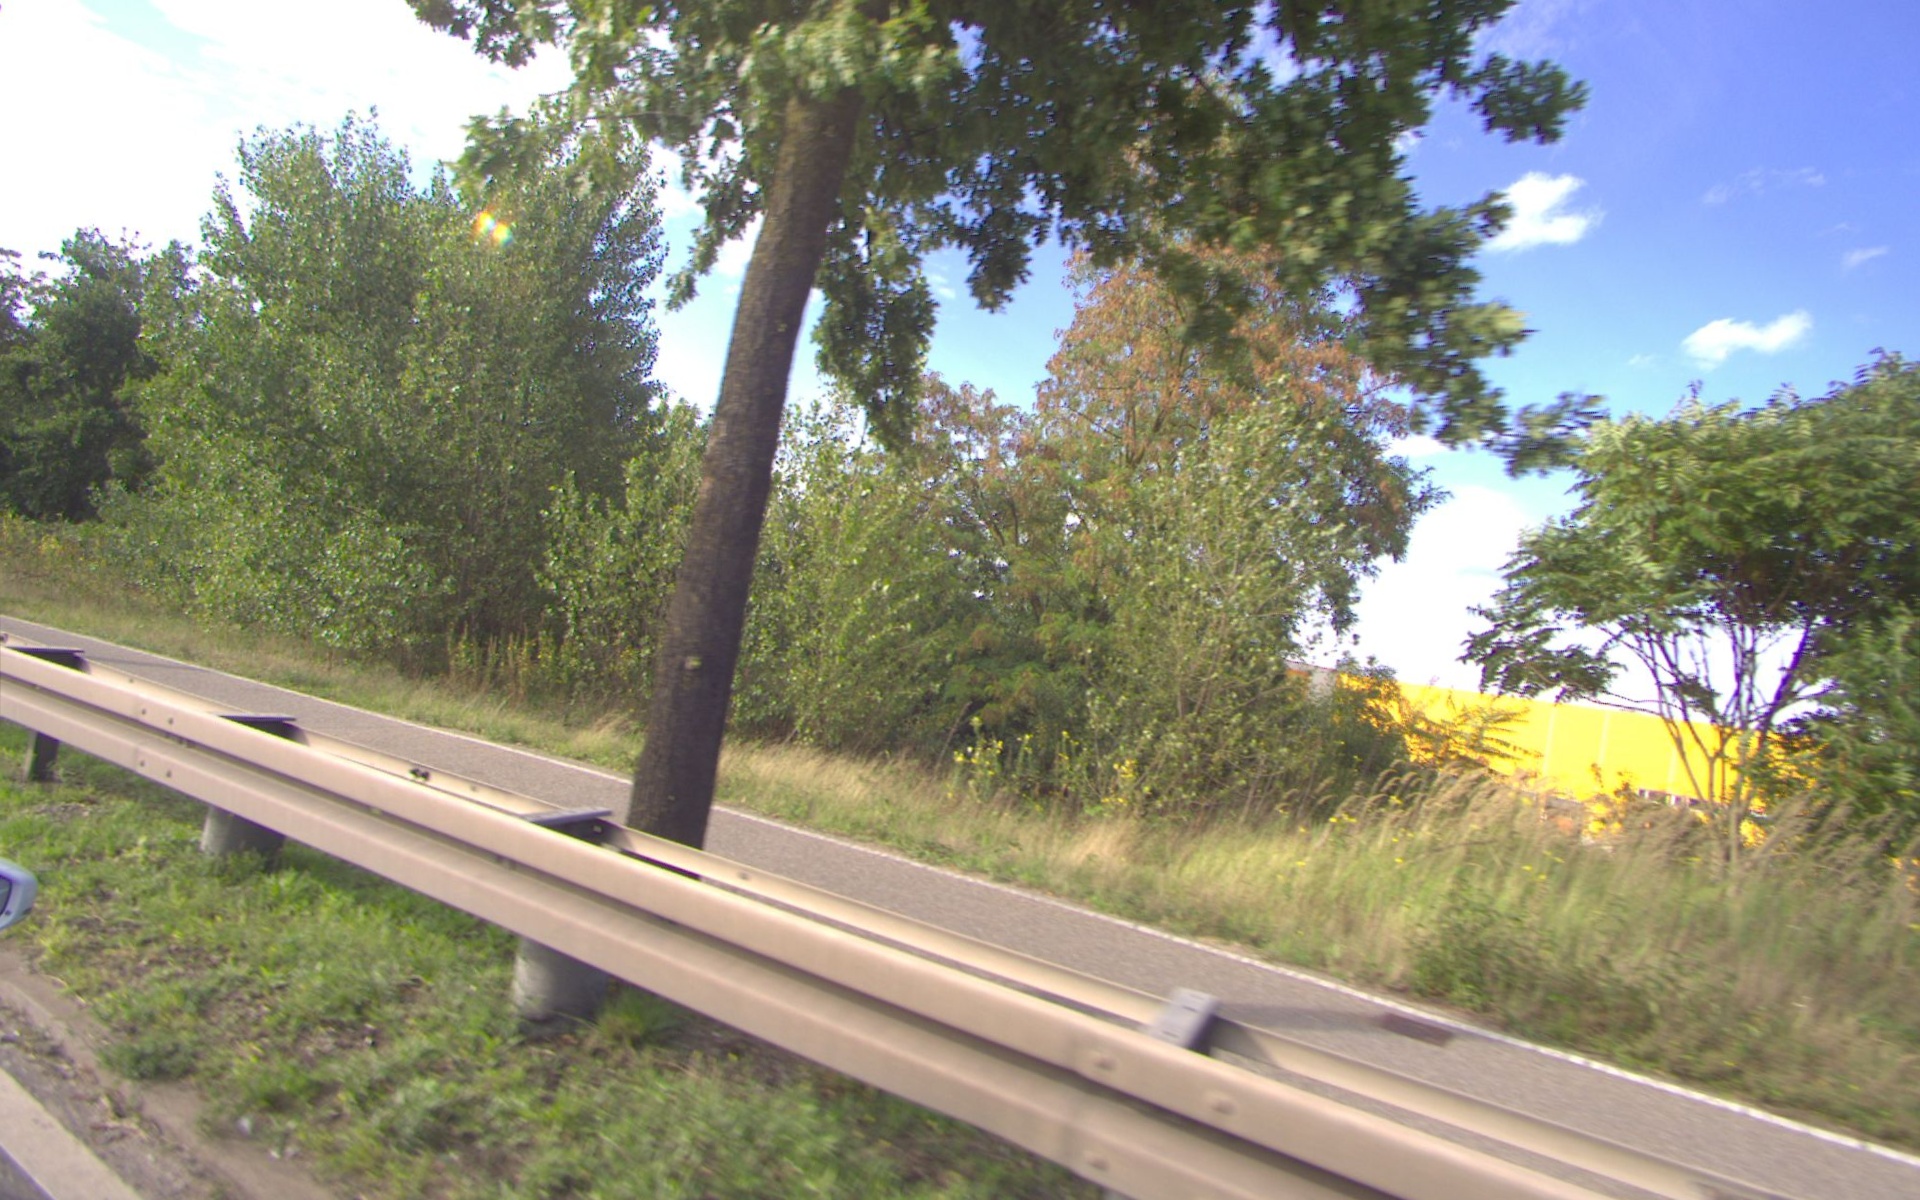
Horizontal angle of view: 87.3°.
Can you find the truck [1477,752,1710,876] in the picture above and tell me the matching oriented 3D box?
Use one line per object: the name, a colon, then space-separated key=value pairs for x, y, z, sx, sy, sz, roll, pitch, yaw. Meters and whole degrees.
truck: x=38.167 y=12.816 z=61.337 sx=3.603 sy=4.912 sz=11.191 roll=8 pitch=-1 yaw=-30
